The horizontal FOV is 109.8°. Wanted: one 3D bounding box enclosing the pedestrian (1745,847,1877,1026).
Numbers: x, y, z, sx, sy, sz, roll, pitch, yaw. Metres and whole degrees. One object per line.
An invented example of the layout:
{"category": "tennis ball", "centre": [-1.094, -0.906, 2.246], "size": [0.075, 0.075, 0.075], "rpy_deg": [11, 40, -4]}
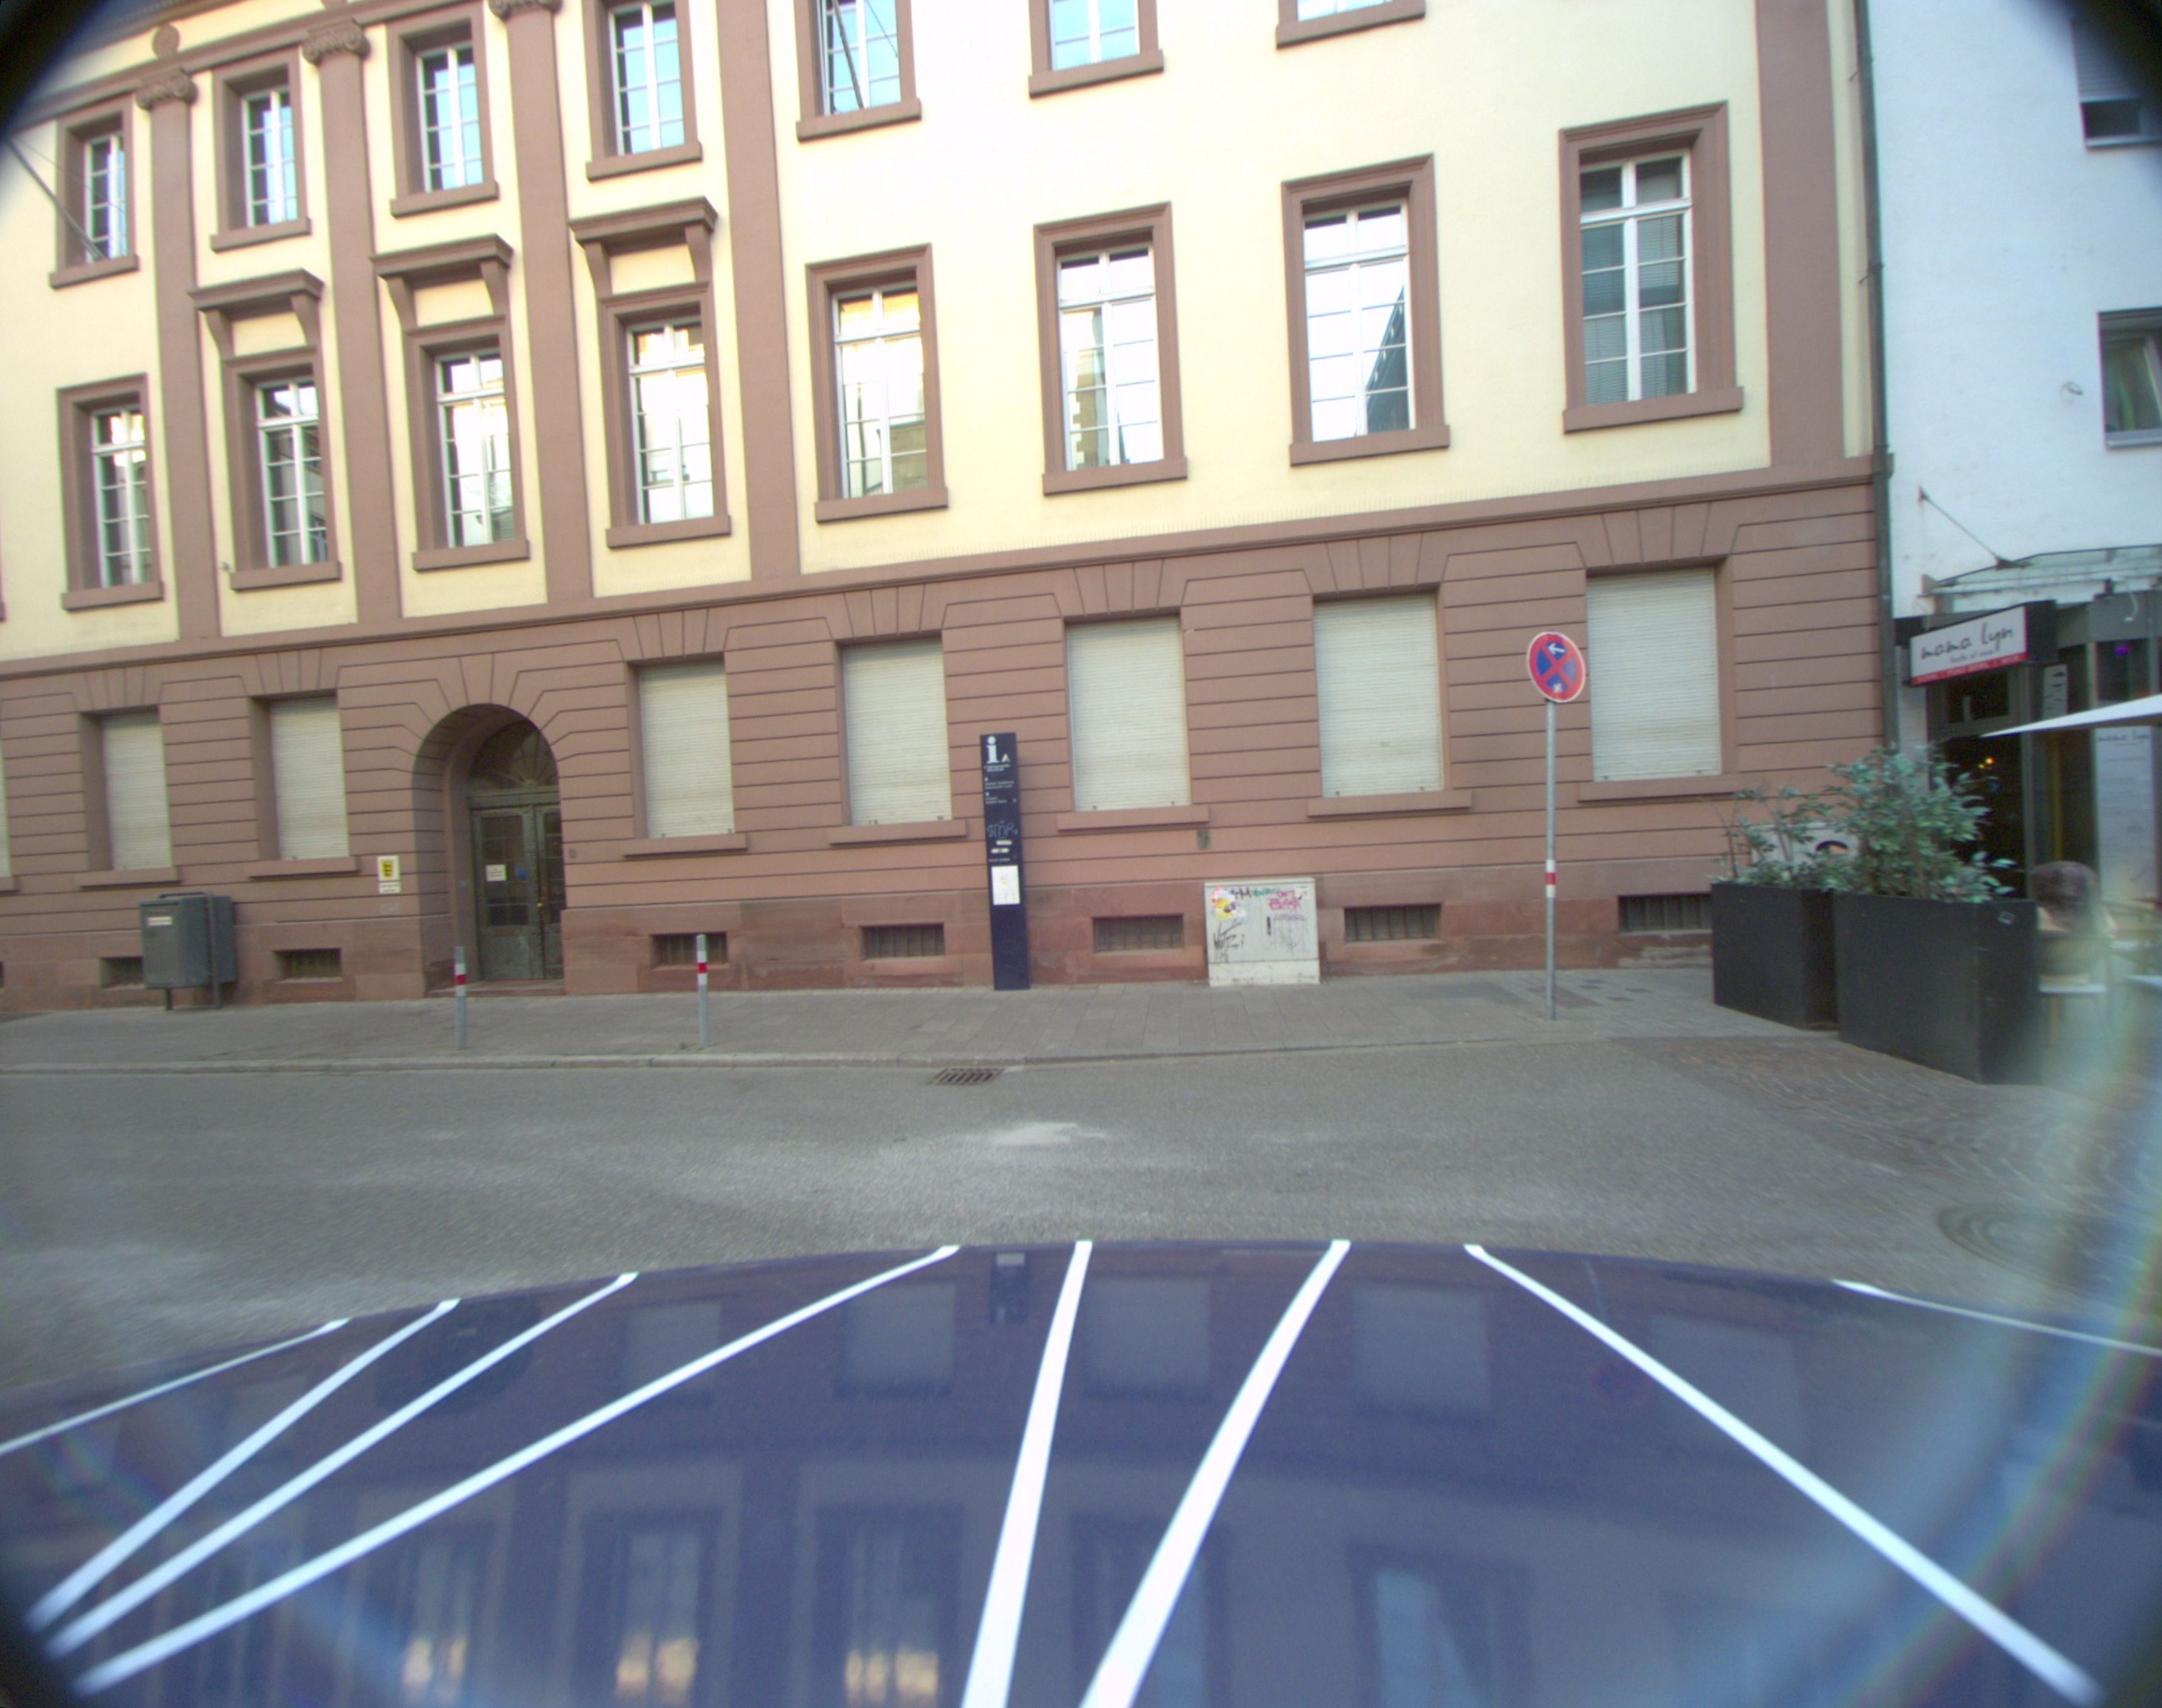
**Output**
{"category": "pedestrian", "centre": [5.738, 0.631, 5.997], "size": [0.548, 1.341, 0.489], "rpy_deg": [-3, 1, 10]}

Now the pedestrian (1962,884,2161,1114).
{"category": "pedestrian", "centre": [5.577, 0.796, 4.318], "size": [0.561, 1.205, 0.461], "rpy_deg": [-3, 1, 10]}

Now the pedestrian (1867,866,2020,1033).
{"category": "pedestrian", "centre": [6.604, 0.710, 5.844], "size": [0.548, 1.204, 0.524], "rpy_deg": [-3, 1, 10]}
